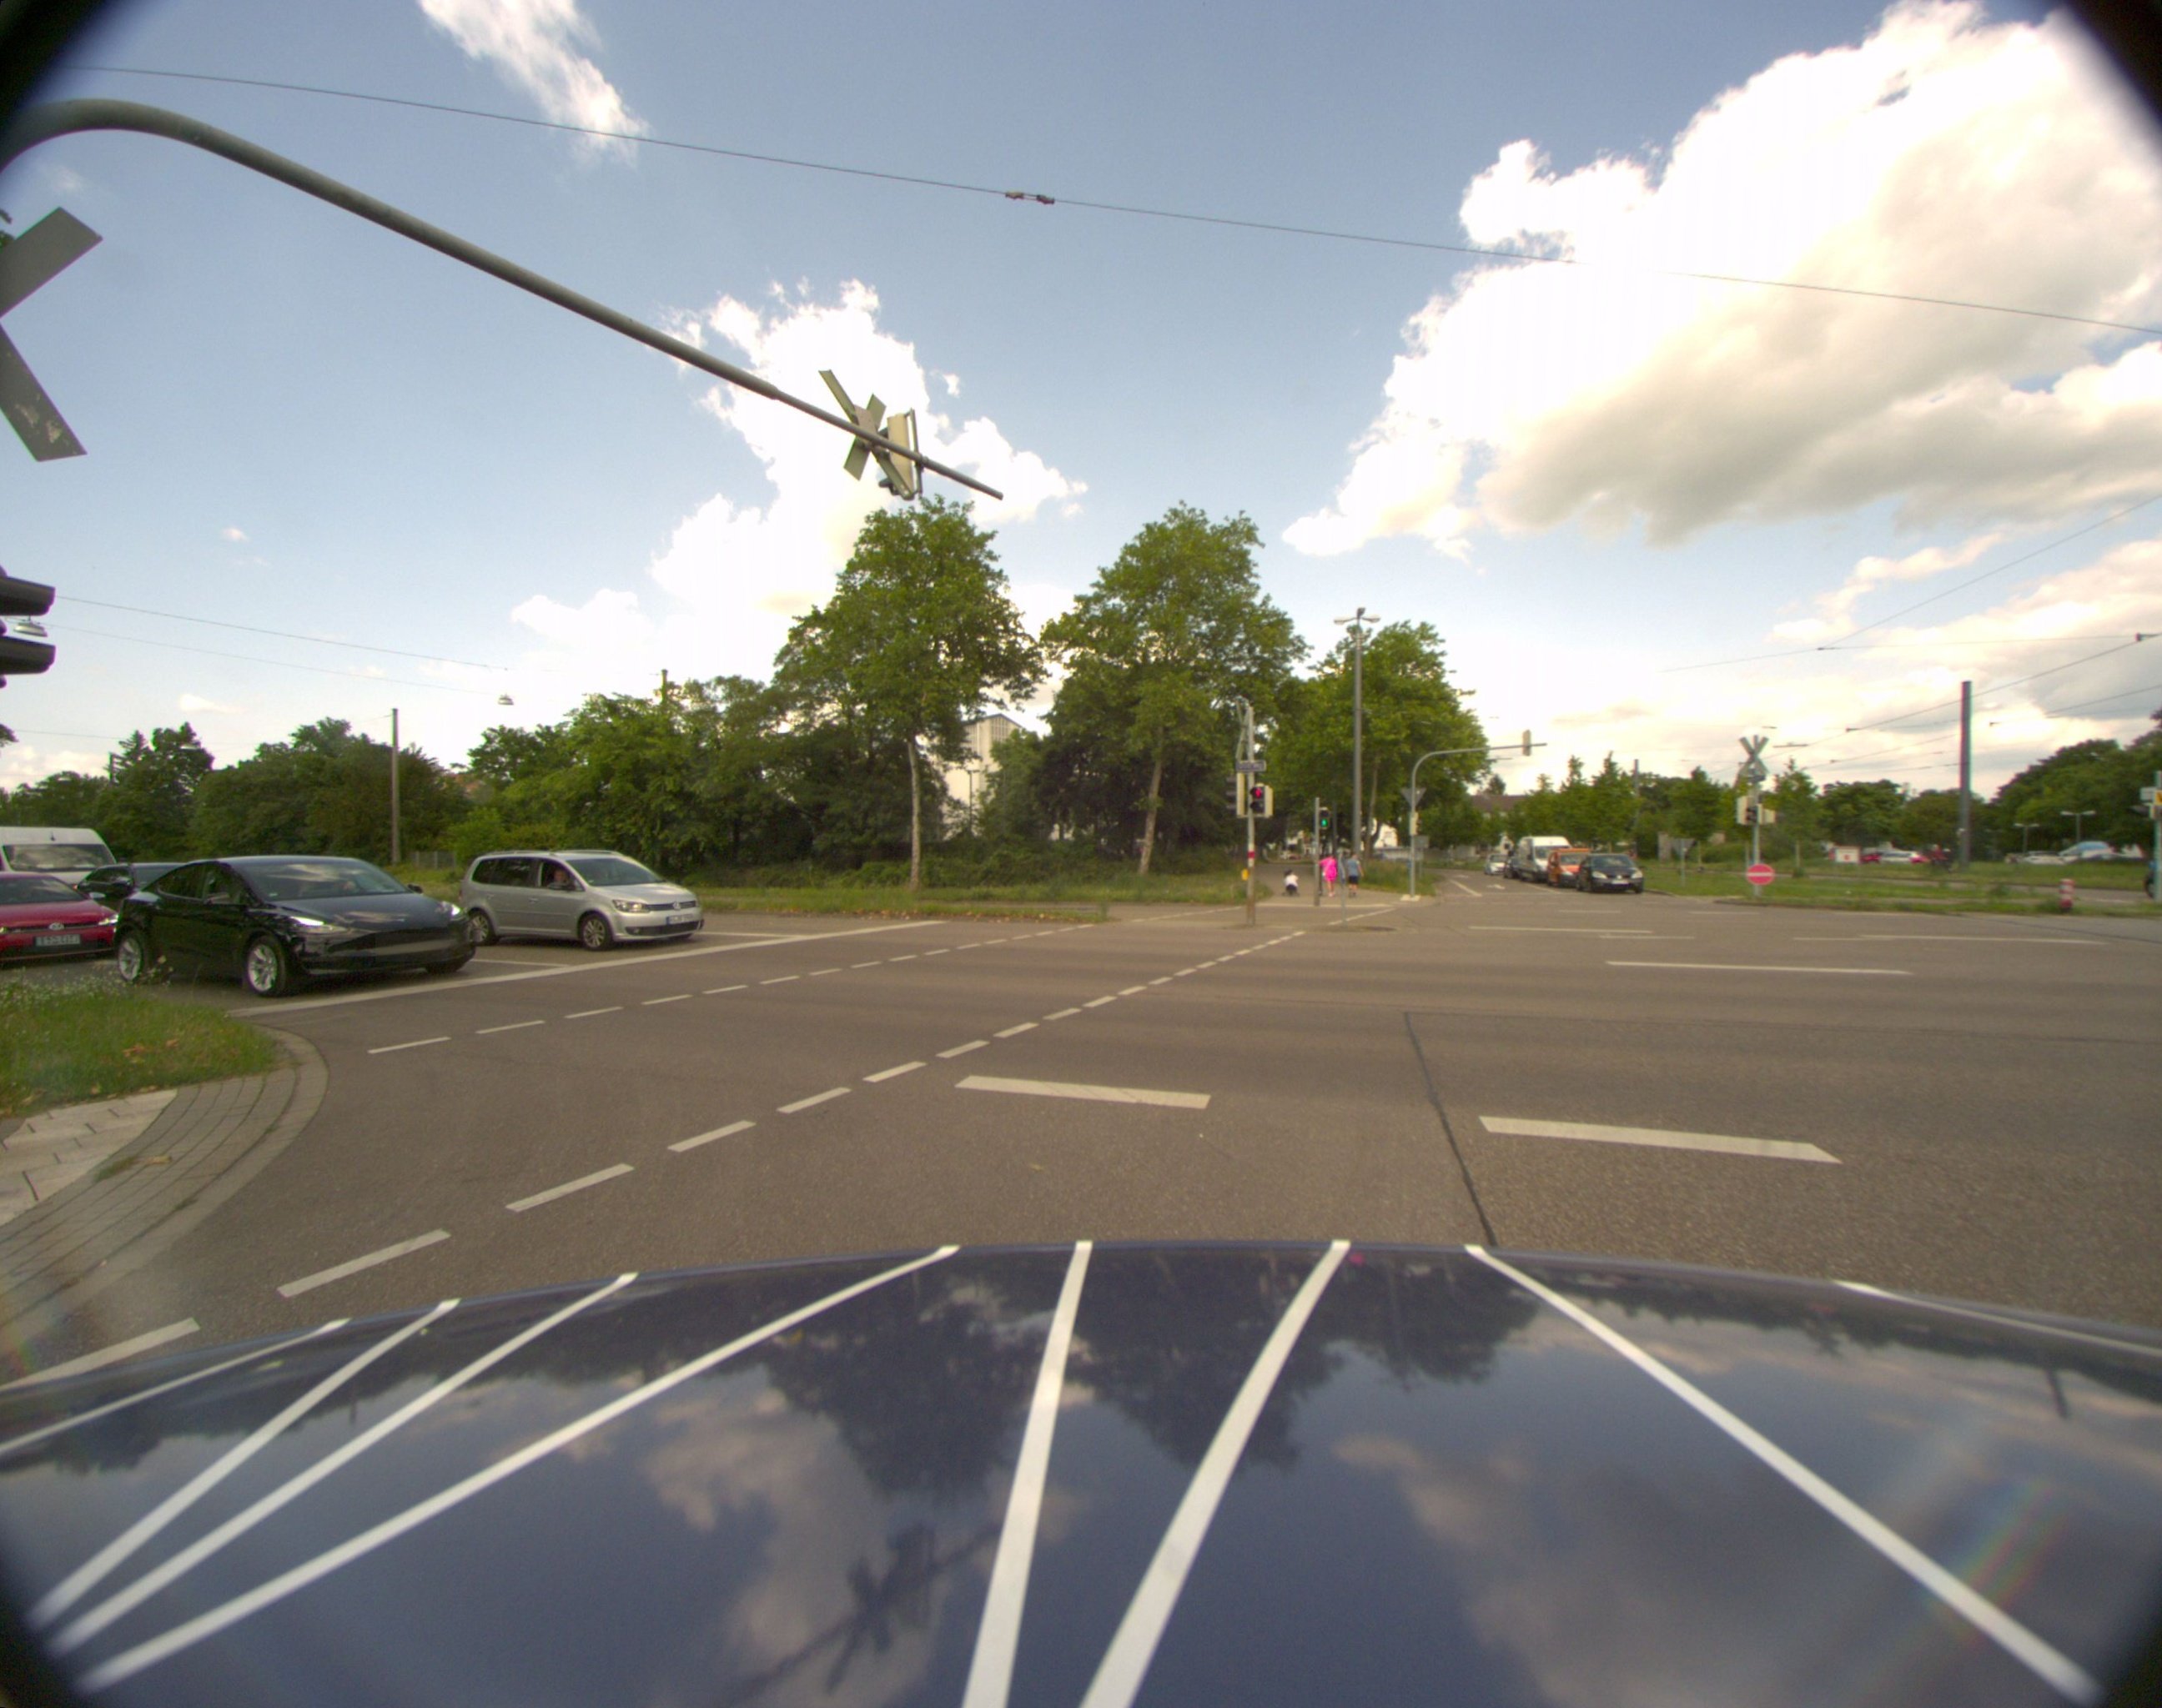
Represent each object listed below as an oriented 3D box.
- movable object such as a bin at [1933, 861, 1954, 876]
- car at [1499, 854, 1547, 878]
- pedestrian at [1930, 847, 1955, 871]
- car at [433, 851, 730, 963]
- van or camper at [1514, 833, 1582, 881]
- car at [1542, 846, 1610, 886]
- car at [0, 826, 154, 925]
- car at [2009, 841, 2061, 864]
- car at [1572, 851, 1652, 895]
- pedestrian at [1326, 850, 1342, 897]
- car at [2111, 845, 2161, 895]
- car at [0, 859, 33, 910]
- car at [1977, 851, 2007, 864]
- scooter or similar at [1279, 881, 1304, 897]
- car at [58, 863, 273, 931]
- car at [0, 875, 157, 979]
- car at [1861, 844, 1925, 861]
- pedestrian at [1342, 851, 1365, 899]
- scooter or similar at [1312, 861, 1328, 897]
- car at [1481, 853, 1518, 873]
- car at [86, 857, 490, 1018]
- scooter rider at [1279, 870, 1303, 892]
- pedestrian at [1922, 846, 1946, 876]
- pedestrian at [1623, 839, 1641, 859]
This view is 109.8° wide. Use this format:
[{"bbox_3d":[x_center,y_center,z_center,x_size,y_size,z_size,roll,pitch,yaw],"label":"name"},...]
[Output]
[{"bbox_3d":[48.507,0.804,42.727,0.578,0.806,0.460,-2,0,7],"label":"movable object such as a bin"},{"bbox_3d":[28.167,0.731,48.519,1.807,1.423,4.475,0,1,19],"label":"car"},{"bbox_3d":[50.170,0.304,44.259,0.649,1.346,0.753,-2,0,20],"label":"pedestrian"},{"bbox_3d":[-8.645,0.813,13.211,4.492,1.643,1.933,0,2,19],"label":"car"},{"bbox_3d":[25.966,0.160,42.465,1.978,2.509,6.046,0,0,19],"label":"van or camper"},{"bbox_3d":[23.456,0.522,36.191,1.880,1.789,4.377,0,0,22],"label":"car"},{"bbox_3d":[-29.297,0.515,21.277,5.920,2.516,2.230,0,2,19],"label":"car"},{"bbox_3d":[72.297,-0.118,57.636,4.400,1.630,1.994,-1,1,-45],"label":"car"},{"bbox_3d":[21.068,0.679,30.314,1.732,1.621,4.058,0,0,22],"label":"car"},{"bbox_3d":[8.845,0.684,26.595,0.420,1.610,0.597,-1,1,29],"label":"pedestrian"},{"bbox_3d":[35.251,0.504,23.831,1.723,1.607,4.006,0,0,23],"label":"car"},{"bbox_3d":[-36.575,0.987,24.709,4.146,1.609,1.846,0,2,21],"label":"car"},{"bbox_3d":[111.404,0.419,92.950,4.400,1.630,1.994,-1,1,-45],"label":"car"},{"bbox_3d":[7.296,1.198,26.341,0.610,0.508,0.859,-2,0,30],"label":"scooter or similar"},{"bbox_3d":[-21.502,0.945,17.866,4.334,1.367,1.767,0,2,19],"label":"car"},{"bbox_3d":[-17.512,1.103,12.256,4.492,1.383,1.804,0,2,19],"label":"car"},{"bbox_3d":[75.385,-0.115,70.636,2.004,1.521,3.988,-1,1,-44],"label":"car"},{"bbox_3d":[9.344,0.726,26.026,0.631,1.610,0.612,-1,1,29],"label":"pedestrian"},{"bbox_3d":[8.407,0.876,26.756,0.321,1.225,0.777,-2,0,31],"label":"scooter or similar"},{"bbox_3d":[30.926,0.635,56.309,1.807,1.423,4.389,0,0,21],"label":"car"},{"bbox_3d":[-10.215,0.902,9.816,4.569,1.643,1.934,0,2,21],"label":"car"},{"bbox_3d":[7.280,0.923,26.338,0.610,0.724,0.861,-2,0,30],"label":"scooter rider"},{"bbox_3d":[48.548,0.397,43.252,0.612,1.635,0.638,-2,0,6],"label":"pedestrian"},{"bbox_3d":[56.683,-0.539,78.154,1.105,2.002,1.177,0,1,6],"label":"pedestrian"}]
